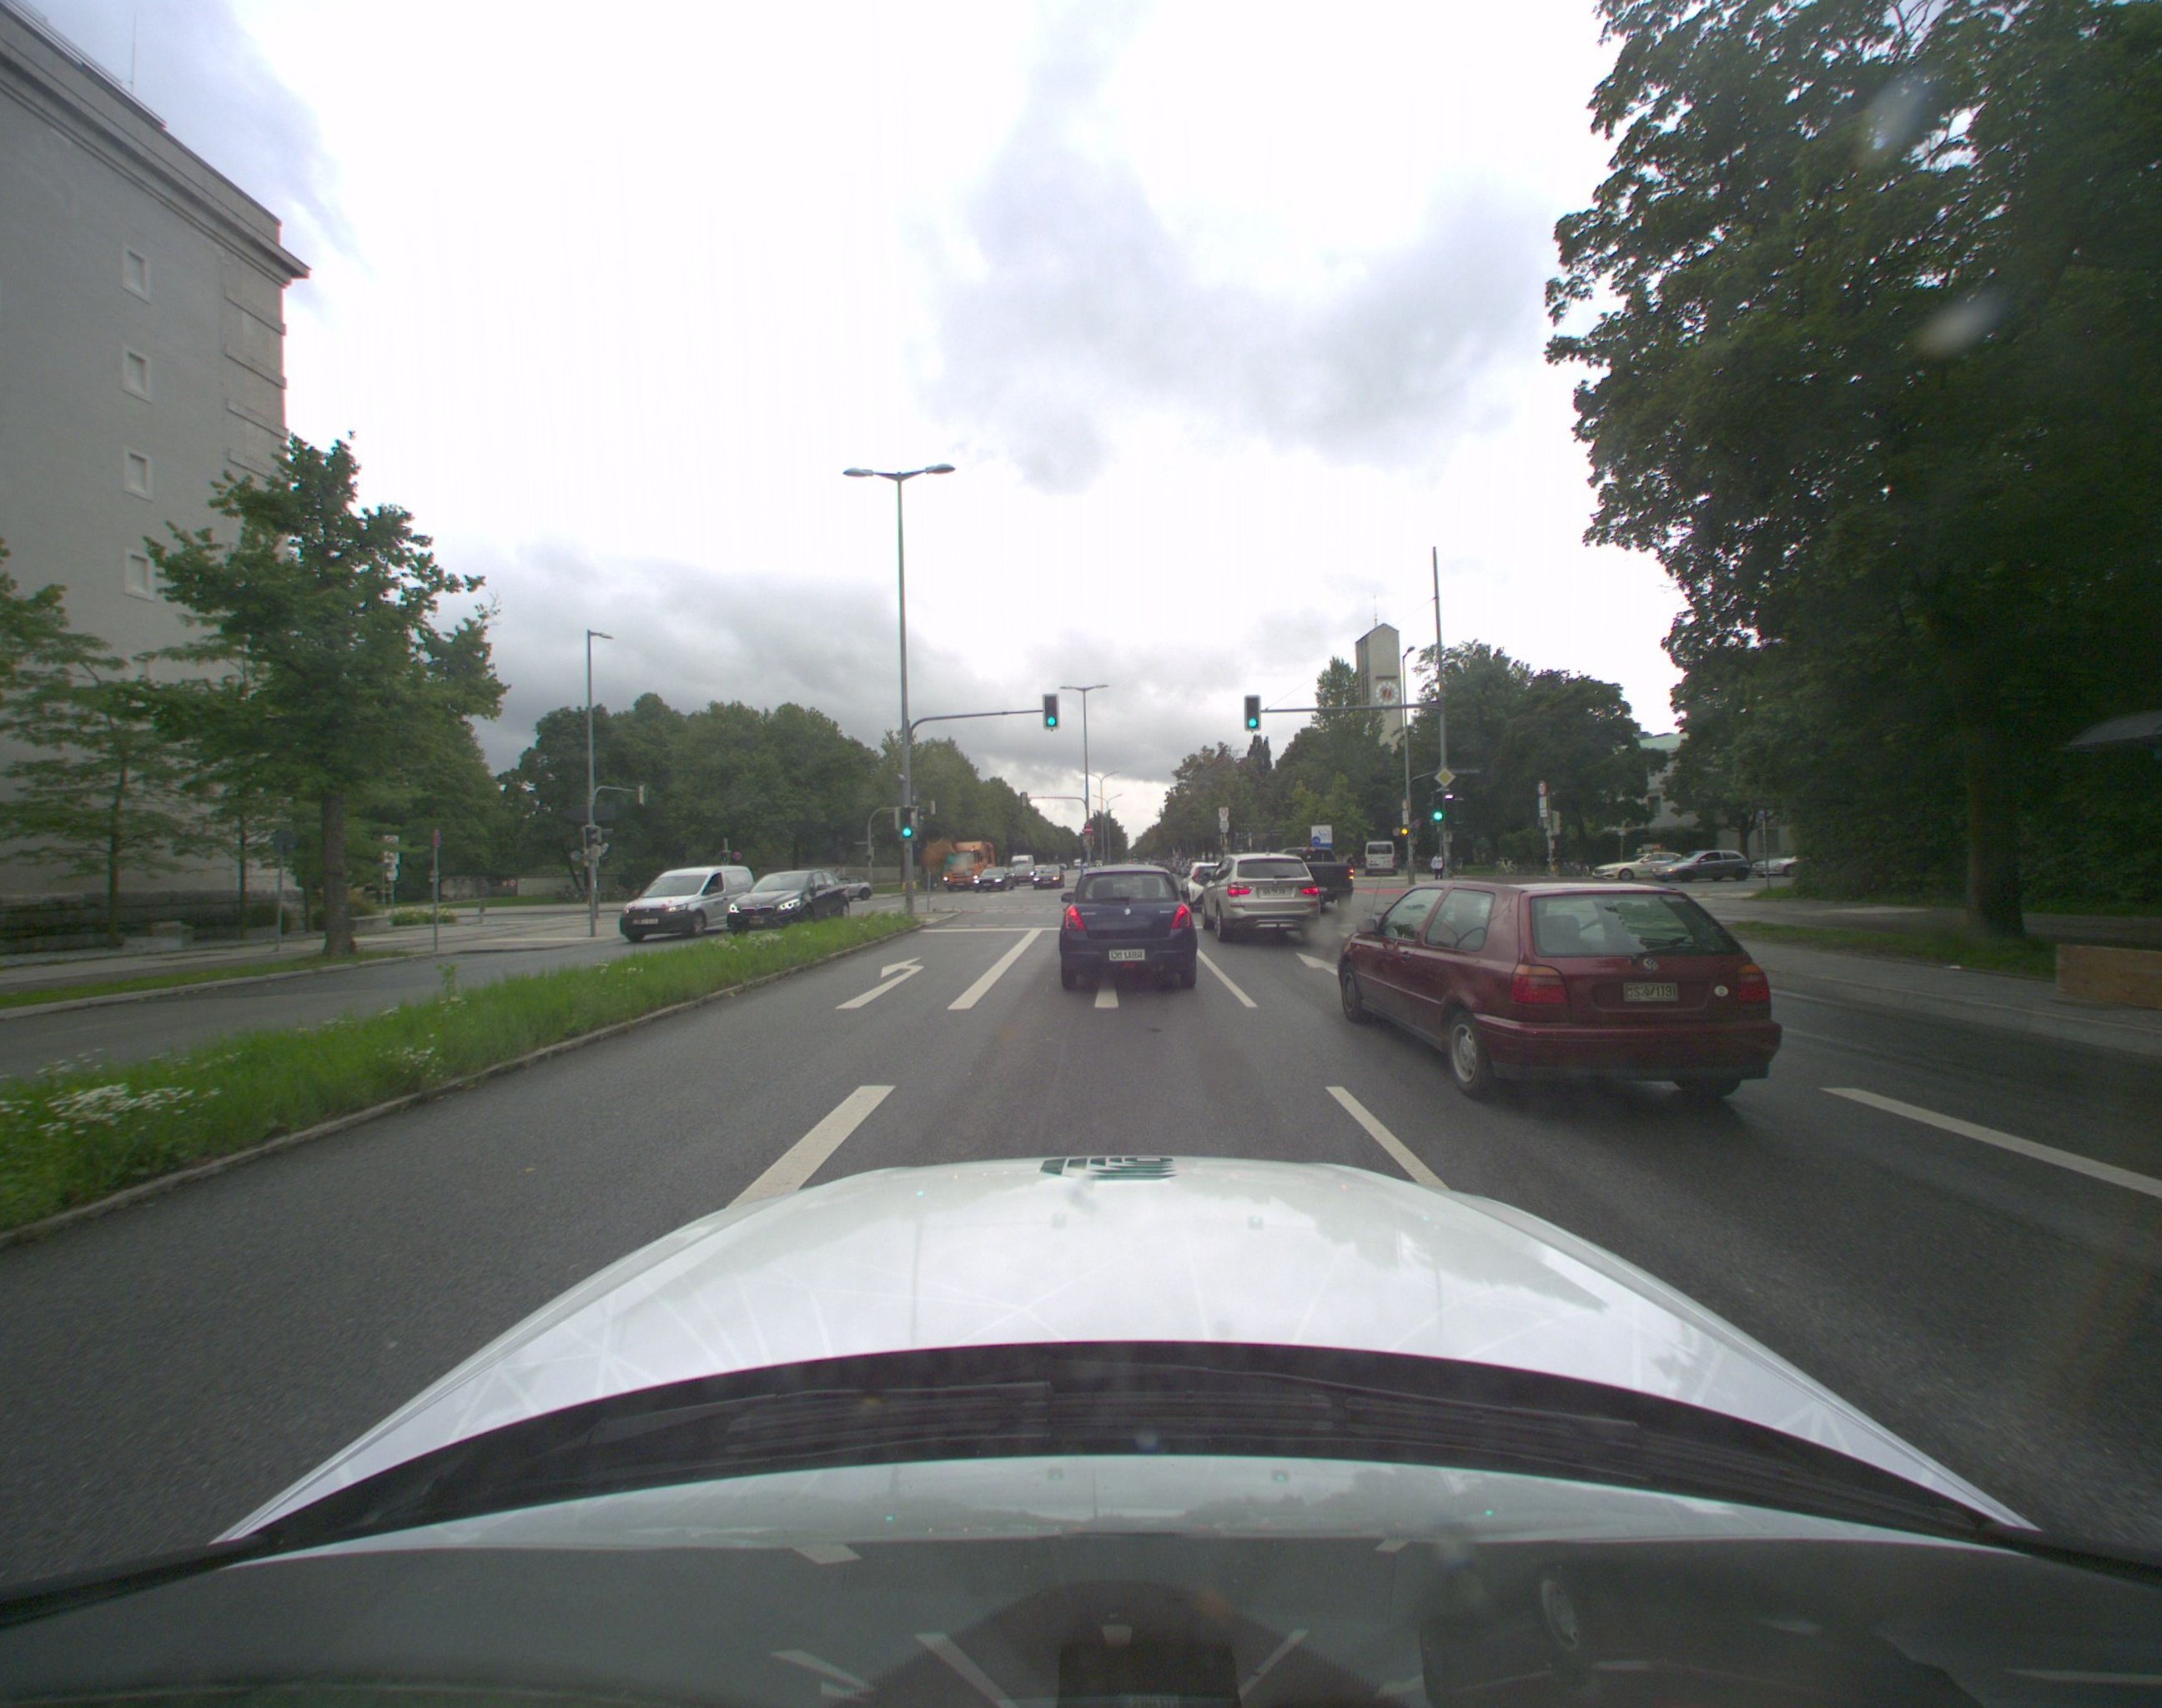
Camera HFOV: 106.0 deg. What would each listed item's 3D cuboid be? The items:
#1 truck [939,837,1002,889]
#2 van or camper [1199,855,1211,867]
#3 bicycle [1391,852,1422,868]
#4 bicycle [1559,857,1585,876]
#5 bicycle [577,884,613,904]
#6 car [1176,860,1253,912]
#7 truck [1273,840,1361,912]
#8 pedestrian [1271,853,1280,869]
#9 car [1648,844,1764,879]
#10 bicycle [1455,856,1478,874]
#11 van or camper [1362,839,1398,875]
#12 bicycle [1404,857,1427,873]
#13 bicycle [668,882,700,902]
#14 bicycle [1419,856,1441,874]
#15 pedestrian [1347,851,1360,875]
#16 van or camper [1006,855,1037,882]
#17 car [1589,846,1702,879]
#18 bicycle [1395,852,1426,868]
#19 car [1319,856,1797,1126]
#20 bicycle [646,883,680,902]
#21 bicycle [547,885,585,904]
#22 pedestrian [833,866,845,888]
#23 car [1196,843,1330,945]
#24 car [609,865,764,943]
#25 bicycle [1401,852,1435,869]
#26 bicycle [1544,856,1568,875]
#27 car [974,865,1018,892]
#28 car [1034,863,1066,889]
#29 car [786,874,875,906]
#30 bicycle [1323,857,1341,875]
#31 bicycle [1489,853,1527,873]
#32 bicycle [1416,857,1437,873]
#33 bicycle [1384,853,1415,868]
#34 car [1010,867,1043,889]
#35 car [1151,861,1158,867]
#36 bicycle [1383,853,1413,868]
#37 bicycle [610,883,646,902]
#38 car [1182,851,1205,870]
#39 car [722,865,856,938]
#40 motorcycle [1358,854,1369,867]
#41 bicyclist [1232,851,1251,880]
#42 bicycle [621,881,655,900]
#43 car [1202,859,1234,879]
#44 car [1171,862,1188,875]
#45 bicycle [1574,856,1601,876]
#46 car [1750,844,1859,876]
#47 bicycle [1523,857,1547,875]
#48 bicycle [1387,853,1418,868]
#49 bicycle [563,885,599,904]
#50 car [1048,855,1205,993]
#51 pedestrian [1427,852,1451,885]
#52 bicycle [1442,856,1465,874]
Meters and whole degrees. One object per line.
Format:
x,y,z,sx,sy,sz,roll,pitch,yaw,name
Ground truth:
-7.748,0.647,57.984,2.767,3.356,7.276,-1,-1,5,truck
27.294,1.496,179.878,2.015,2.558,5.962,-2,-1,4,van or camper
27.083,0.534,67.759,2.329,1.157,0.529,-4,-1,2,bicycle
29.268,0.709,48.585,0.604,1.095,2.121,-2,-1,11,bicycle
-32.620,2.682,54.721,0.832,1.186,2.497,-2,-1,2,bicycle
4.123,0.948,25.697,1.843,1.447,4.099,-2,-1,2,car
7.451,0.653,26.312,2.086,2.014,5.828,-2,-1,10,truck
18.750,0.712,78.609,0.579,1.513,0.691,-1,-1,-15,pedestrian
28.367,0.362,37.050,3.920,1.454,1.629,-2,-1,3,car
25.681,0.734,54.328,0.693,1.153,2.132,-2,-1,6,bicycle
20.694,0.210,56.232,2.123,2.296,6.231,-2,-1,21,van or camper
25.096,0.800,61.021,2.141,1.153,0.710,-1,-1,-43,bicycle
-26.510,2.528,54.465,0.832,1.186,2.497,-2,-1,2,bicycle
24.815,0.774,57.857,0.709,1.153,2.142,-3,-1,43,bicycle
18.035,0.595,53.881,0.684,1.538,0.741,-2,-1,22,pedestrian
-6.175,1.491,85.285,2.169,2.647,6.956,-4,-1,3,van or camper
27.969,0.435,40.458,4.286,1.497,1.887,-2,-1,-1,car
27.116,0.528,67.033,2.329,1.157,0.529,-4,-1,2,bicycle
3.208,0.780,6.485,1.615,1.454,3.952,-2,-1,3,car
-27.870,2.542,54.360,0.832,1.186,2.497,-2,-1,2,bicycle
-34.630,2.716,54.796,0.832,1.186,2.497,-2,-1,2,bicycle
-18.960,1.792,63.824,0.705,1.740,0.517,-2,-1,-2,pedestrian
3.488,0.727,16.371,1.843,1.743,4.099,-2,-1,2,car
-10.325,1.230,21.732,1.772,1.812,4.433,-2,-1,2,car
26.719,0.509,64.585,2.329,1.157,0.529,-4,-1,2,bicycle
28.535,0.697,48.906,0.603,1.095,2.122,-2,-1,13,bicycle
-5.264,1.489,51.016,1.919,1.462,4.901,-4,-1,2,car
-1.880,1.313,50.491,1.632,1.487,3.784,-2,-1,3,car
-14.052,2.002,45.825,1.907,1.462,4.393,-4,-1,39,car
17.964,0.846,58.402,0.856,1.198,2.004,-3,-1,7,bicycle
26.810,0.572,51.181,0.704,1.251,2.098,-1,-1,-23,bicycle
25.280,0.785,59.540,0.709,1.153,2.142,-3,-1,43,bicycle
27.387,0.552,70.045,2.329,1.157,0.529,-4,-1,2,bicycle
-4.174,1.804,62.775,1.854,1.542,4.753,-2,-1,3,car
17.776,2.439,196.414,1.676,1.525,4.460,0,-1,4,car
27.487,0.557,70.634,2.329,1.157,0.529,-4,-1,2,bicycle
-31.551,2.642,56.760,0.832,1.186,2.885,-2,-1,2,bicycle
10.746,0.574,78.035,1.740,1.724,4.910,-1,0,4,car
-7.127,1.103,20.375,1.692,1.570,4.292,-2,-1,1,car
26.528,0.647,76.506,0.650,1.177,1.825,-2,-1,28,motorcycle
9.832,0.699,49.851,0.831,1.764,0.739,-1,-1,-32,bicyclist
-30.039,2.456,55.275,0.832,1.186,2.497,-2,-1,2,bicycle
9.951,1.065,59.463,1.704,1.360,4.622,-1,-1,1,car
12.066,1.738,100.063,1.710,1.508,4.227,-2,-1,3,car
29.833,0.700,48.032,0.604,1.095,2.121,-2,-1,11,bicycle
35.855,0.285,40.422,3.923,1.454,1.627,-2,-1,0,car
27.895,0.736,50.052,0.604,1.095,2.121,-2,-1,11,bicycle
27.120,0.543,68.816,2.329,1.157,0.529,-4,-1,2,bicycle
-33.635,2.711,54.829,0.832,1.186,2.497,-2,-1,2,bicycle
0.593,0.835,11.501,1.782,1.556,4.001,-2,-1,2,car
19.074,0.753,43.353,0.758,1.703,0.937,-2,-1,-6,pedestrian
24.865,0.743,54.422,0.712,1.153,2.132,-2,-1,6,bicycle
